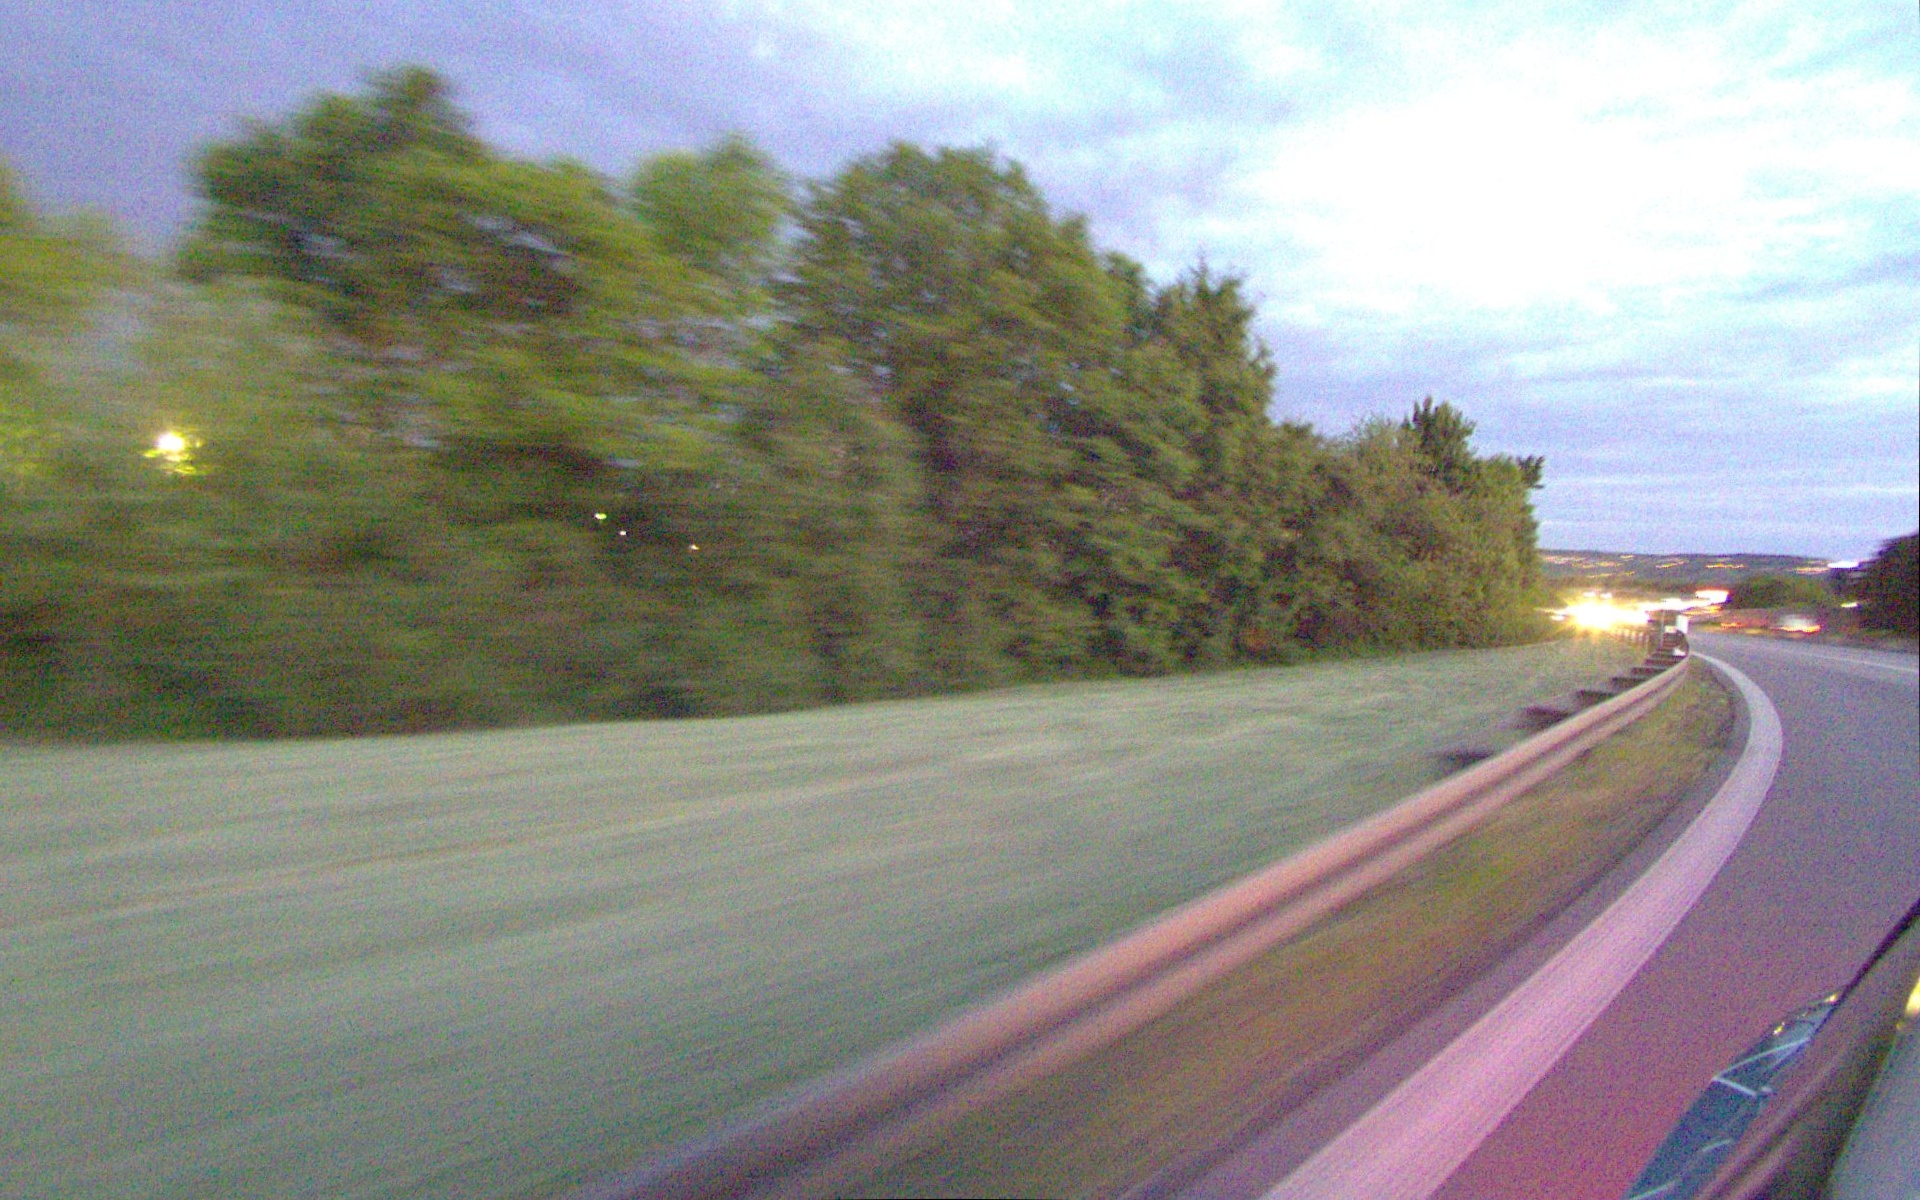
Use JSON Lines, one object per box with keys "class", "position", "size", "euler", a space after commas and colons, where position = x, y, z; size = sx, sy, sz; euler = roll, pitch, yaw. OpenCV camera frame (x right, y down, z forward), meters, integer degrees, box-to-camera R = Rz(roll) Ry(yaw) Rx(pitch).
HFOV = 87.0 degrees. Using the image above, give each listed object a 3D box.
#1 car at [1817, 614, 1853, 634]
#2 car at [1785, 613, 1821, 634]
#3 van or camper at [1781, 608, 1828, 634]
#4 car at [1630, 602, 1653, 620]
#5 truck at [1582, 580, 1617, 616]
{"class": "car", "position": [103.416, 2.834, 119.627], "size": [2.014, 2.038, 4.201], "euler": [5, 2, 25]}
{"class": "car", "position": [89.735, 2.460, 107.722], "size": [1.981, 2.038, 3.962], "euler": [4, 2, 27]}
{"class": "van or camper", "position": [96.396, 2.332, 115.571], "size": [2.501, 2.626, 6.429], "euler": [5, 3, 26]}
{"class": "car", "position": [86.692, 1.353, 128.837], "size": [1.985, 2.037, 3.957], "euler": [6, 3, 30]}
{"class": "truck", "position": [84.537, -0.255, 133.959], "size": [3.330, 4.370, 11.201], "euler": [6, 3, 31]}
